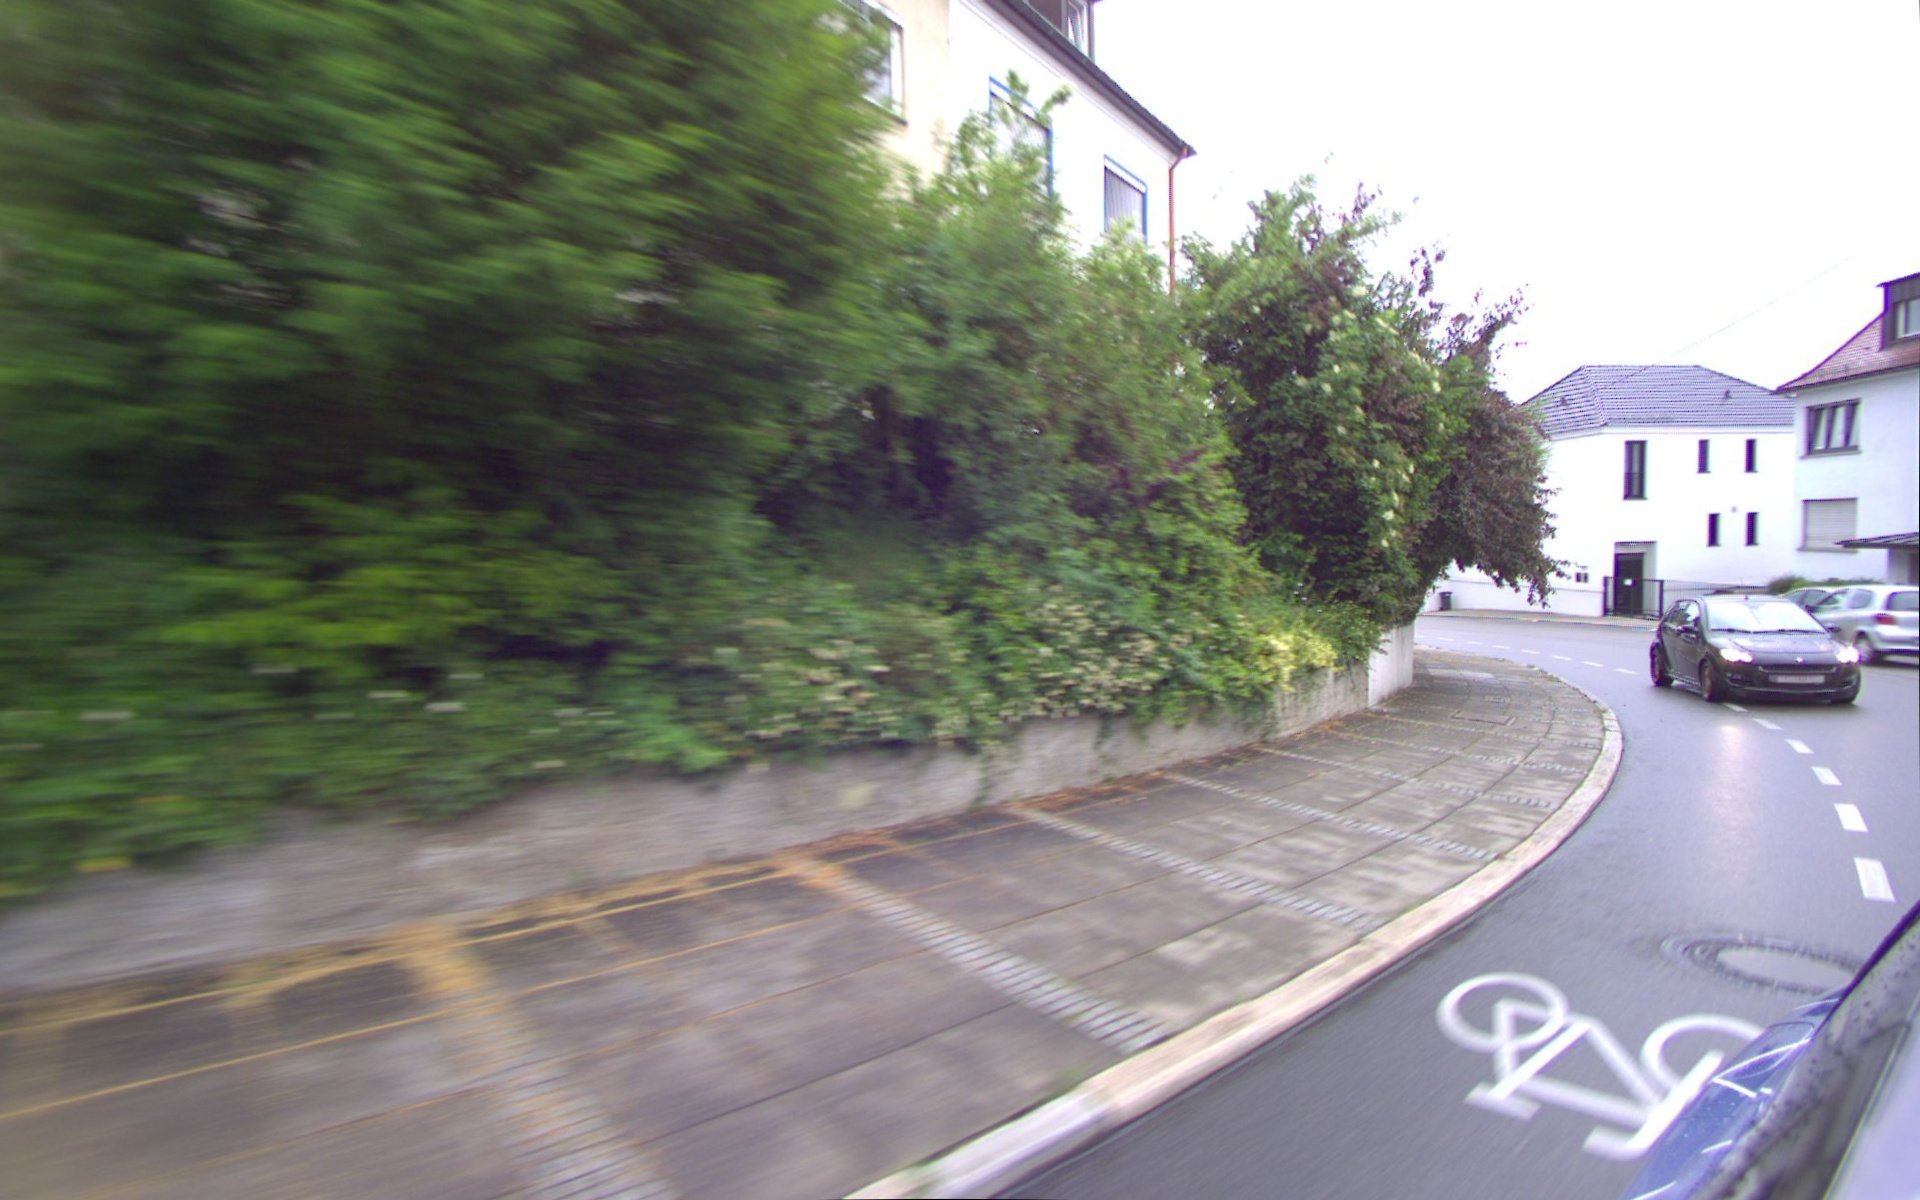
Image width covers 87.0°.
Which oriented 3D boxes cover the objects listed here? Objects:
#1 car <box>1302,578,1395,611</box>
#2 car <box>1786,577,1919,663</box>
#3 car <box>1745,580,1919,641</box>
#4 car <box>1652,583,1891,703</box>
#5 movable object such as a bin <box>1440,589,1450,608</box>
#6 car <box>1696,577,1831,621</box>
[{"bbox_3d":[19.620,-0.298,51.381,1.796,1.504,5.001,-2,1,-15],"label":"car"},{"bbox_3d":[17.770,0.349,19.306,1.469,1.440,3.843,3,2,13],"label":"car"},{"bbox_3d":[22.706,0.218,26.114,1.809,1.443,4.225,0,1,5],"label":"car"},{"bbox_3d":[11.604,0.541,14.773,1.662,1.430,3.611,-3,1,22],"label":"car"},{"bbox_3d":[24.025,-0.065,50.131,0.363,0.924,0.284,0,1,-16],"label":"movable object such as a bin"},{"bbox_3d":[31.220,-0.064,39.379,3.919,1.369,1.746,4,3,-7],"label":"car"}]
